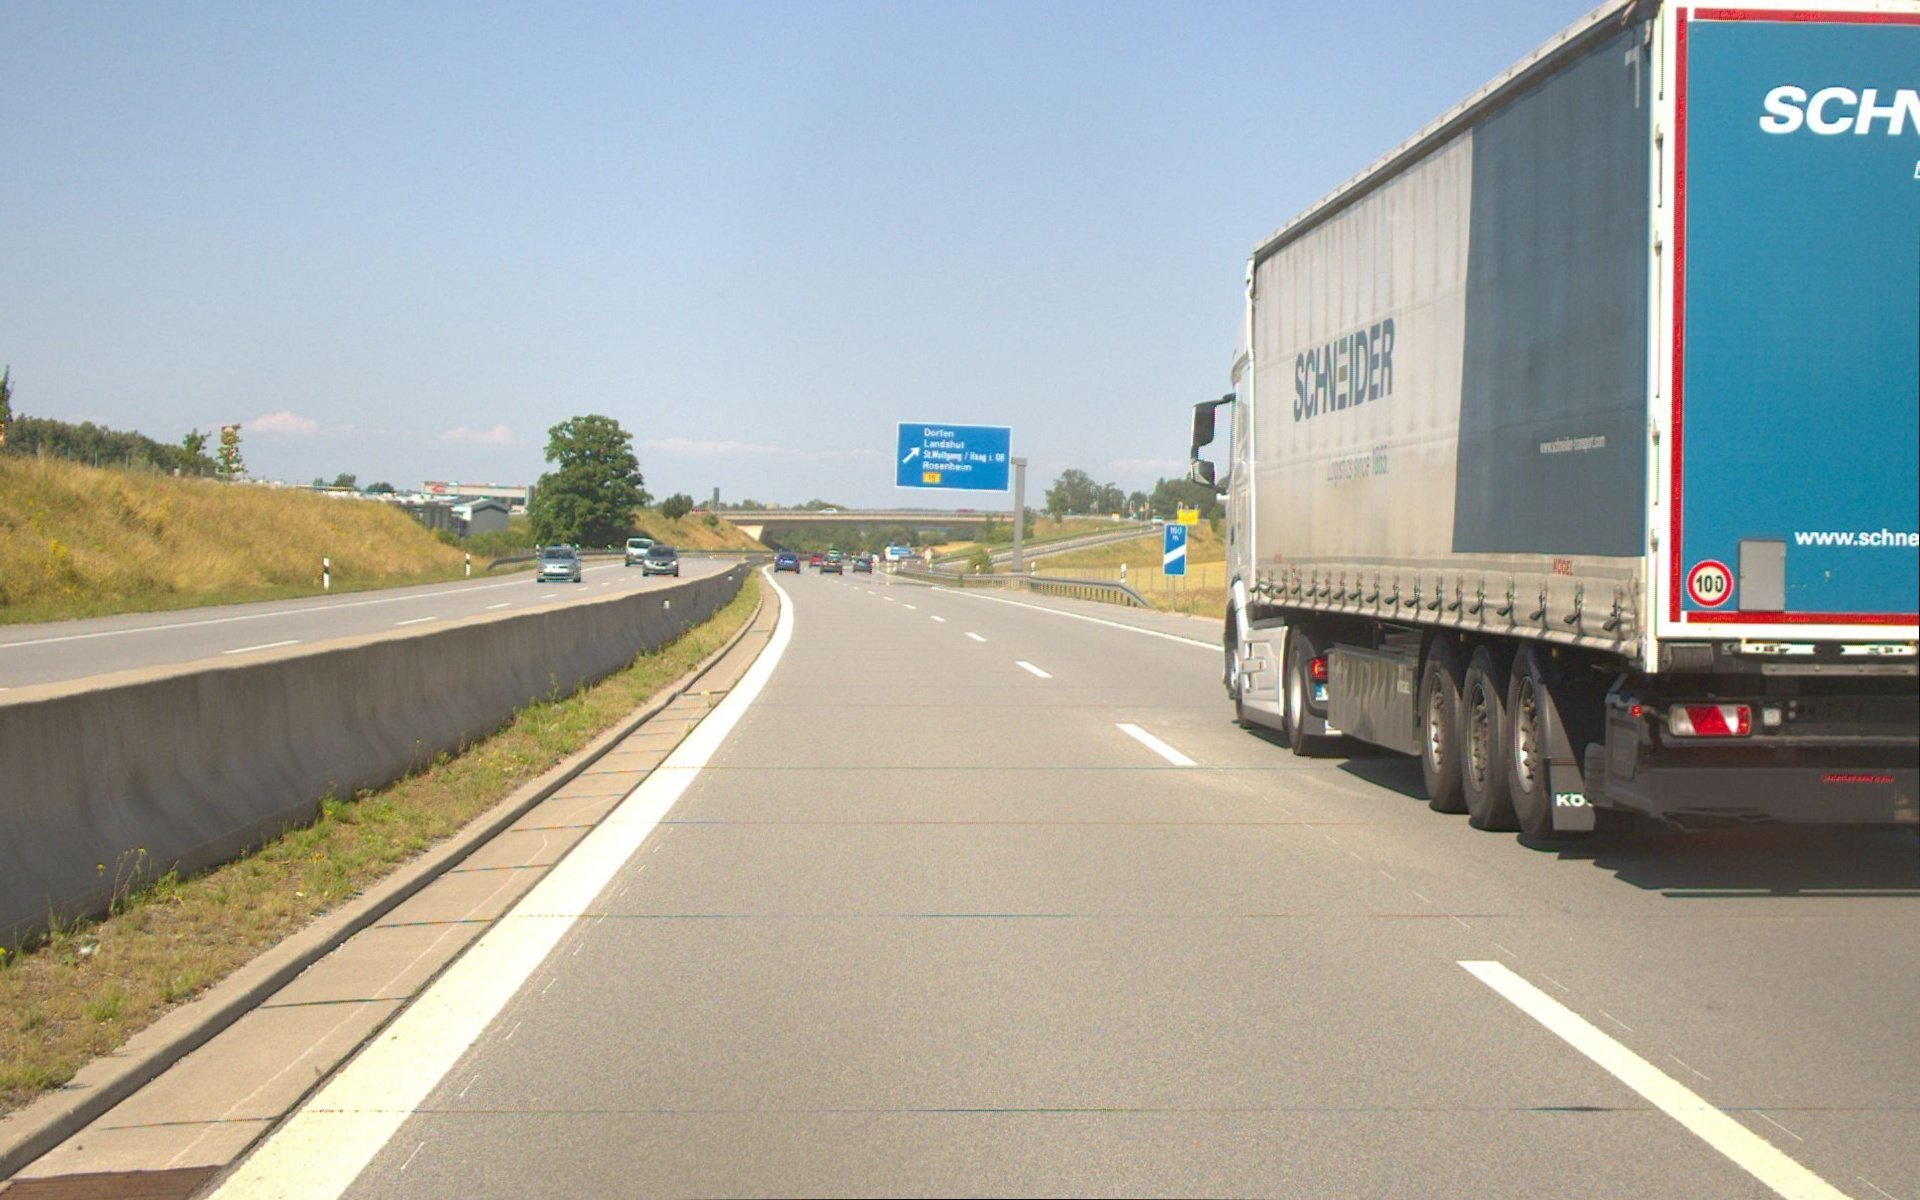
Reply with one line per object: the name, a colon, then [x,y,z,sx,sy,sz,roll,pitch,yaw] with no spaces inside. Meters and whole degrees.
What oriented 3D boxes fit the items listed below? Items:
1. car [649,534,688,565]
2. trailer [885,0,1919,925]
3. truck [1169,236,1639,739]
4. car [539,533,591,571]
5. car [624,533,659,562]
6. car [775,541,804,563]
car: [-14.967,-2.604,176.436,1.879,1.570,4.567,-1,1,-6]
trailer: [4.018,-0.955,22.075,3.180,4.279,15.443,0,1,22]
truck: [3.754,-0.963,30.655,3.082,4.000,6.190,-1,1,-3]
car: [-16.206,-1.979,141.255,1.879,1.497,4.566,0,1,-4]
car: [-22.134,-3.674,238.725,2.233,1.928,5.796,1,1,-6]
car: [-12.491,-3.525,251.897,1.993,1.546,4.000,-1,1,-1]
